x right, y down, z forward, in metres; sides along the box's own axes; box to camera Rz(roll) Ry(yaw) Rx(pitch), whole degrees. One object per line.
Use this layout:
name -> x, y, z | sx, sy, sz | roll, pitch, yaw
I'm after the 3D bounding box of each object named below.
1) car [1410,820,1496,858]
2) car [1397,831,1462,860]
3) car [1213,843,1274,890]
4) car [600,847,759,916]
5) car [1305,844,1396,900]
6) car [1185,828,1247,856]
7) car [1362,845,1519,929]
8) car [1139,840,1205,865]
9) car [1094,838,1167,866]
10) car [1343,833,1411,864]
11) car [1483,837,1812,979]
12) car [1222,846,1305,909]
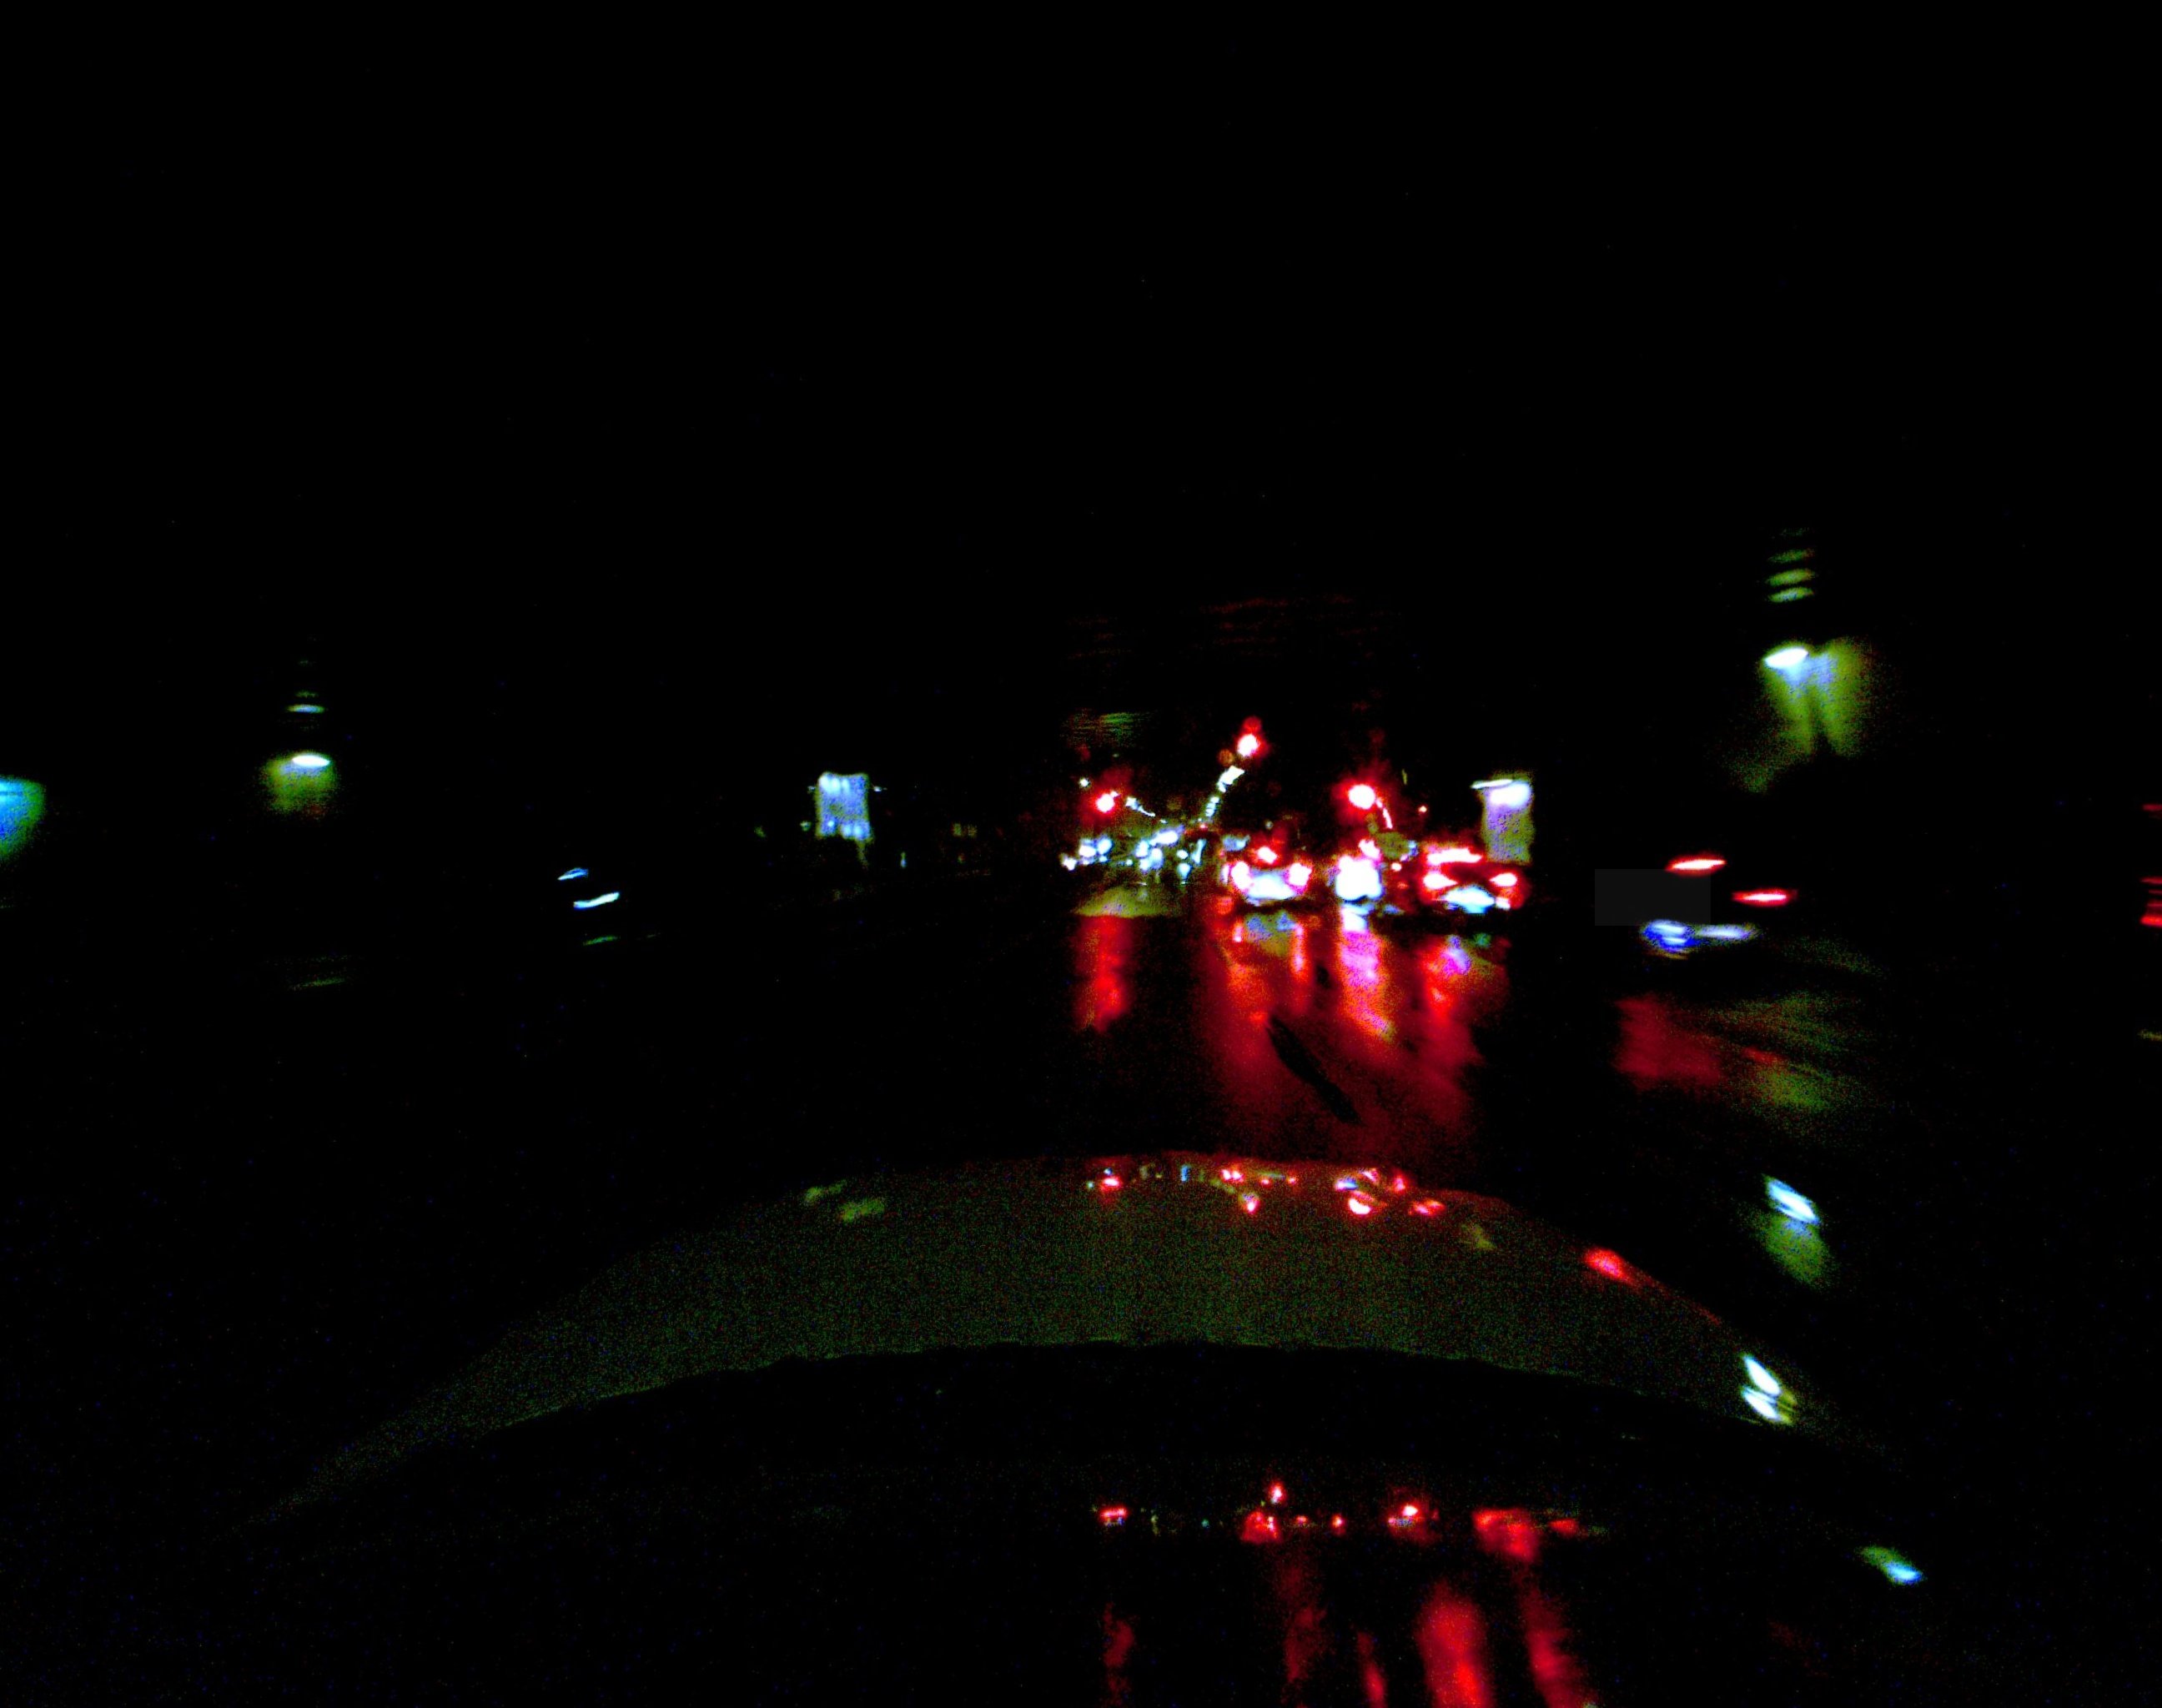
car -> 20.639, -0.804, 45.350 | 3.961, 2.013, 2.006 | -1, 0, 11
car -> 25.387, -0.617, 59.535 | 4.257, 2.013, 2.055 | -1, 0, 20
car -> 5.585, 0.378, 28.432 | 1.711, 1.446, 4.392 | -3, 0, 7
car -> -9.865, 0.608, 20.430 | 1.589, 1.536, 4.316 | -1, 0, 4
car -> 7.808, 0.472, 23.946 | 1.711, 1.446, 4.171 | -3, 0, 7
car -> 10.858, -0.954, 65.768 | 2.454, 2.194, 5.035 | -1, 0, -27
car -> 7.380, 0.589, 17.239 | 1.711, 1.487, 4.797 | -2, 0, 7
car -> 6.277, -0.096, 56.513 | 4.326, 1.623, 1.848 | -1, 0, 43
car -> 3.211, -0.099, 53.768 | 4.778, 1.769, 1.848 | -1, 0, 45
car -> 20.562, -0.369, 56.798 | 4.262, 2.013, 2.053 | -1, 0, 14
car -> 7.242, 0.584, 11.025 | 1.713, 1.487, 4.166 | -3, 0, 4
car -> 4.649, 0.539, 21.260 | 1.711, 1.446, 4.171 | -1, 0, 7
